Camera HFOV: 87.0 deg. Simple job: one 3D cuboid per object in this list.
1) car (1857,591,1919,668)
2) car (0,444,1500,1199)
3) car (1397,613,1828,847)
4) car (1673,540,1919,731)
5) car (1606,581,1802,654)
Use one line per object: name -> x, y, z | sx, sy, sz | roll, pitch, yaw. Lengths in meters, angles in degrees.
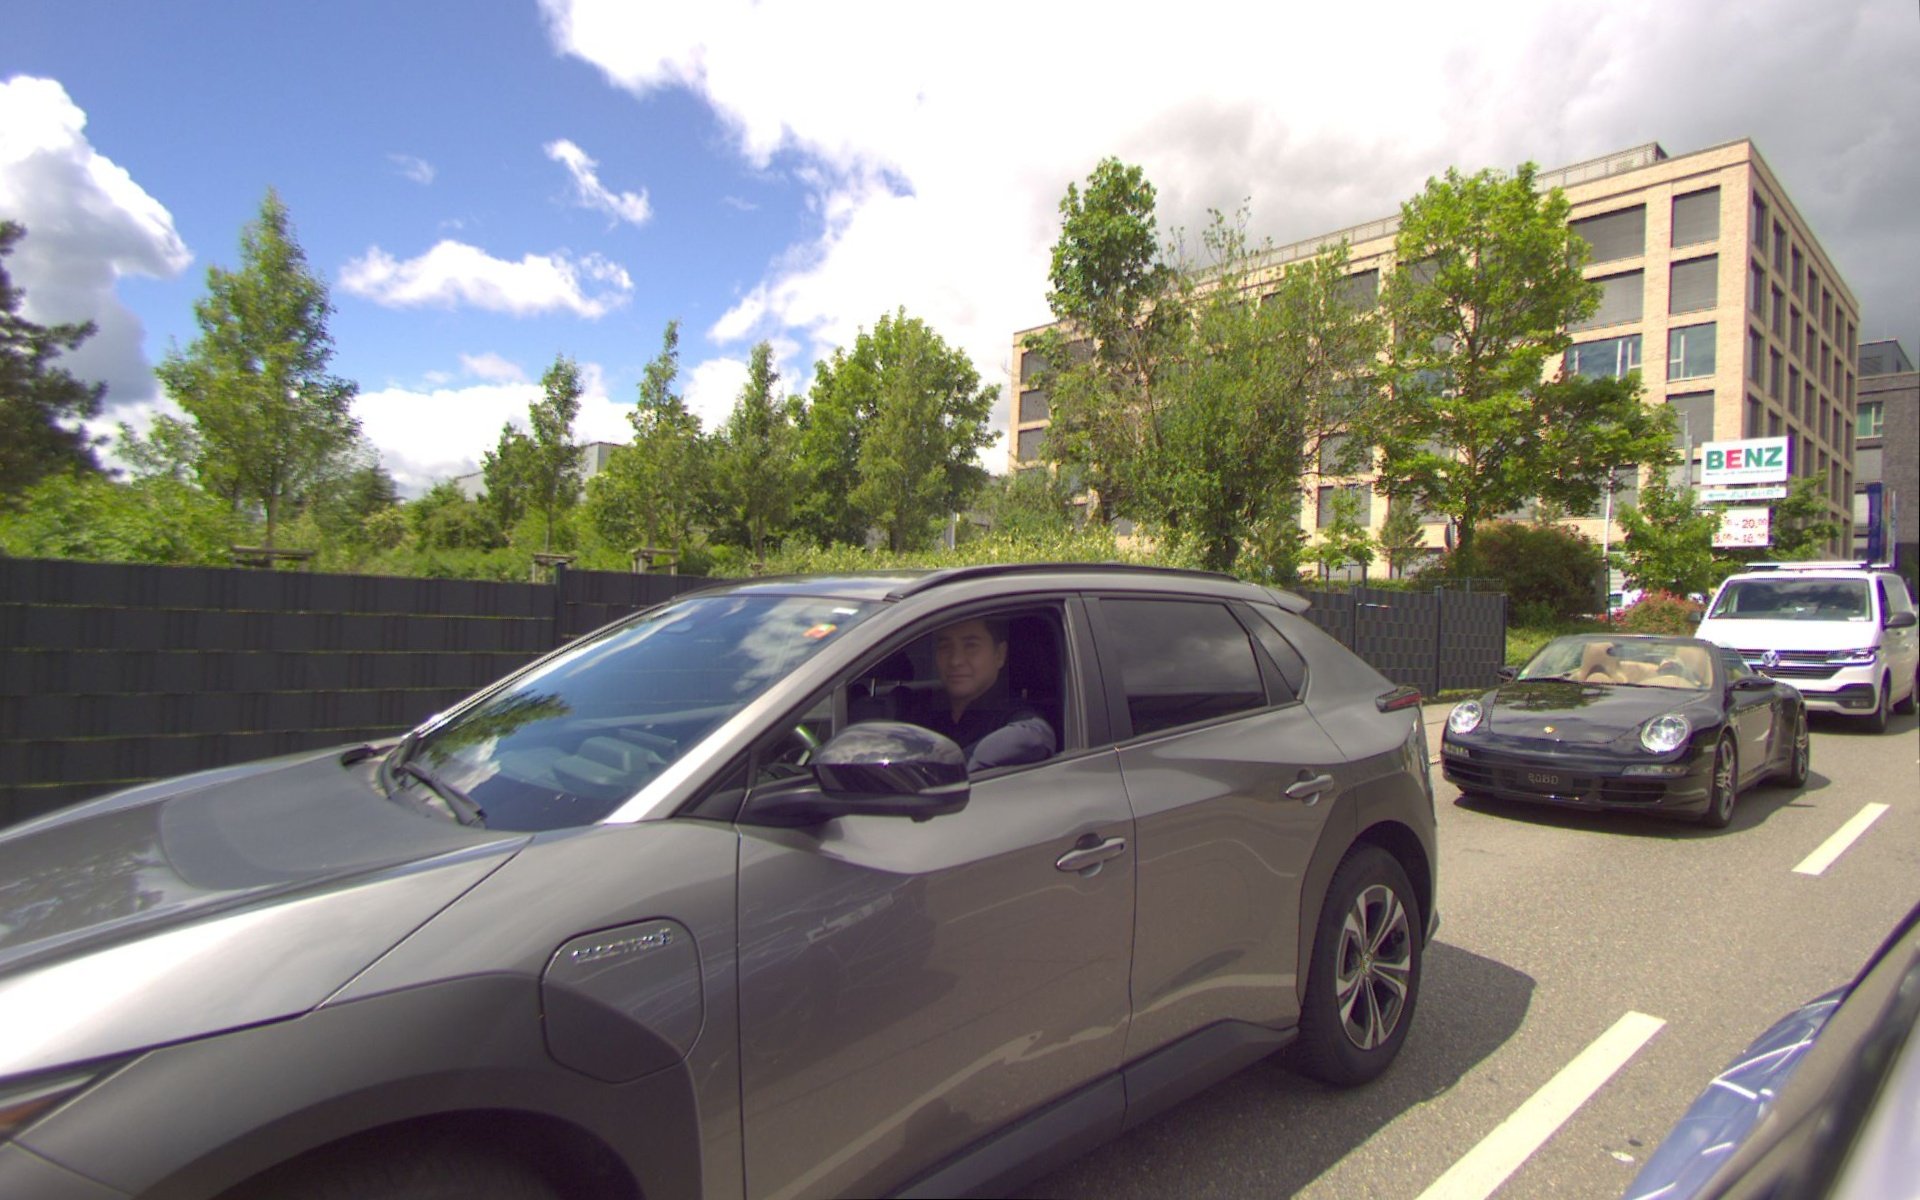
car -> 20.241, 0.581, 21.073 | 3.930, 1.481, 1.817 | 0, 2, -41
car -> -0.399, 0.642, 2.902 | 4.501, 1.649, 1.997 | 0, 1, -42
car -> 5.264, 0.791, 7.966 | 3.967, 1.310, 1.823 | 0, 0, -41
car -> 11.313, 0.375, 13.328 | 4.677, 2.075, 2.087 | 0, 0, -41
car -> 19.949, 0.408, 27.243 | 1.793, 1.754, 3.991 | 0, 2, -44
